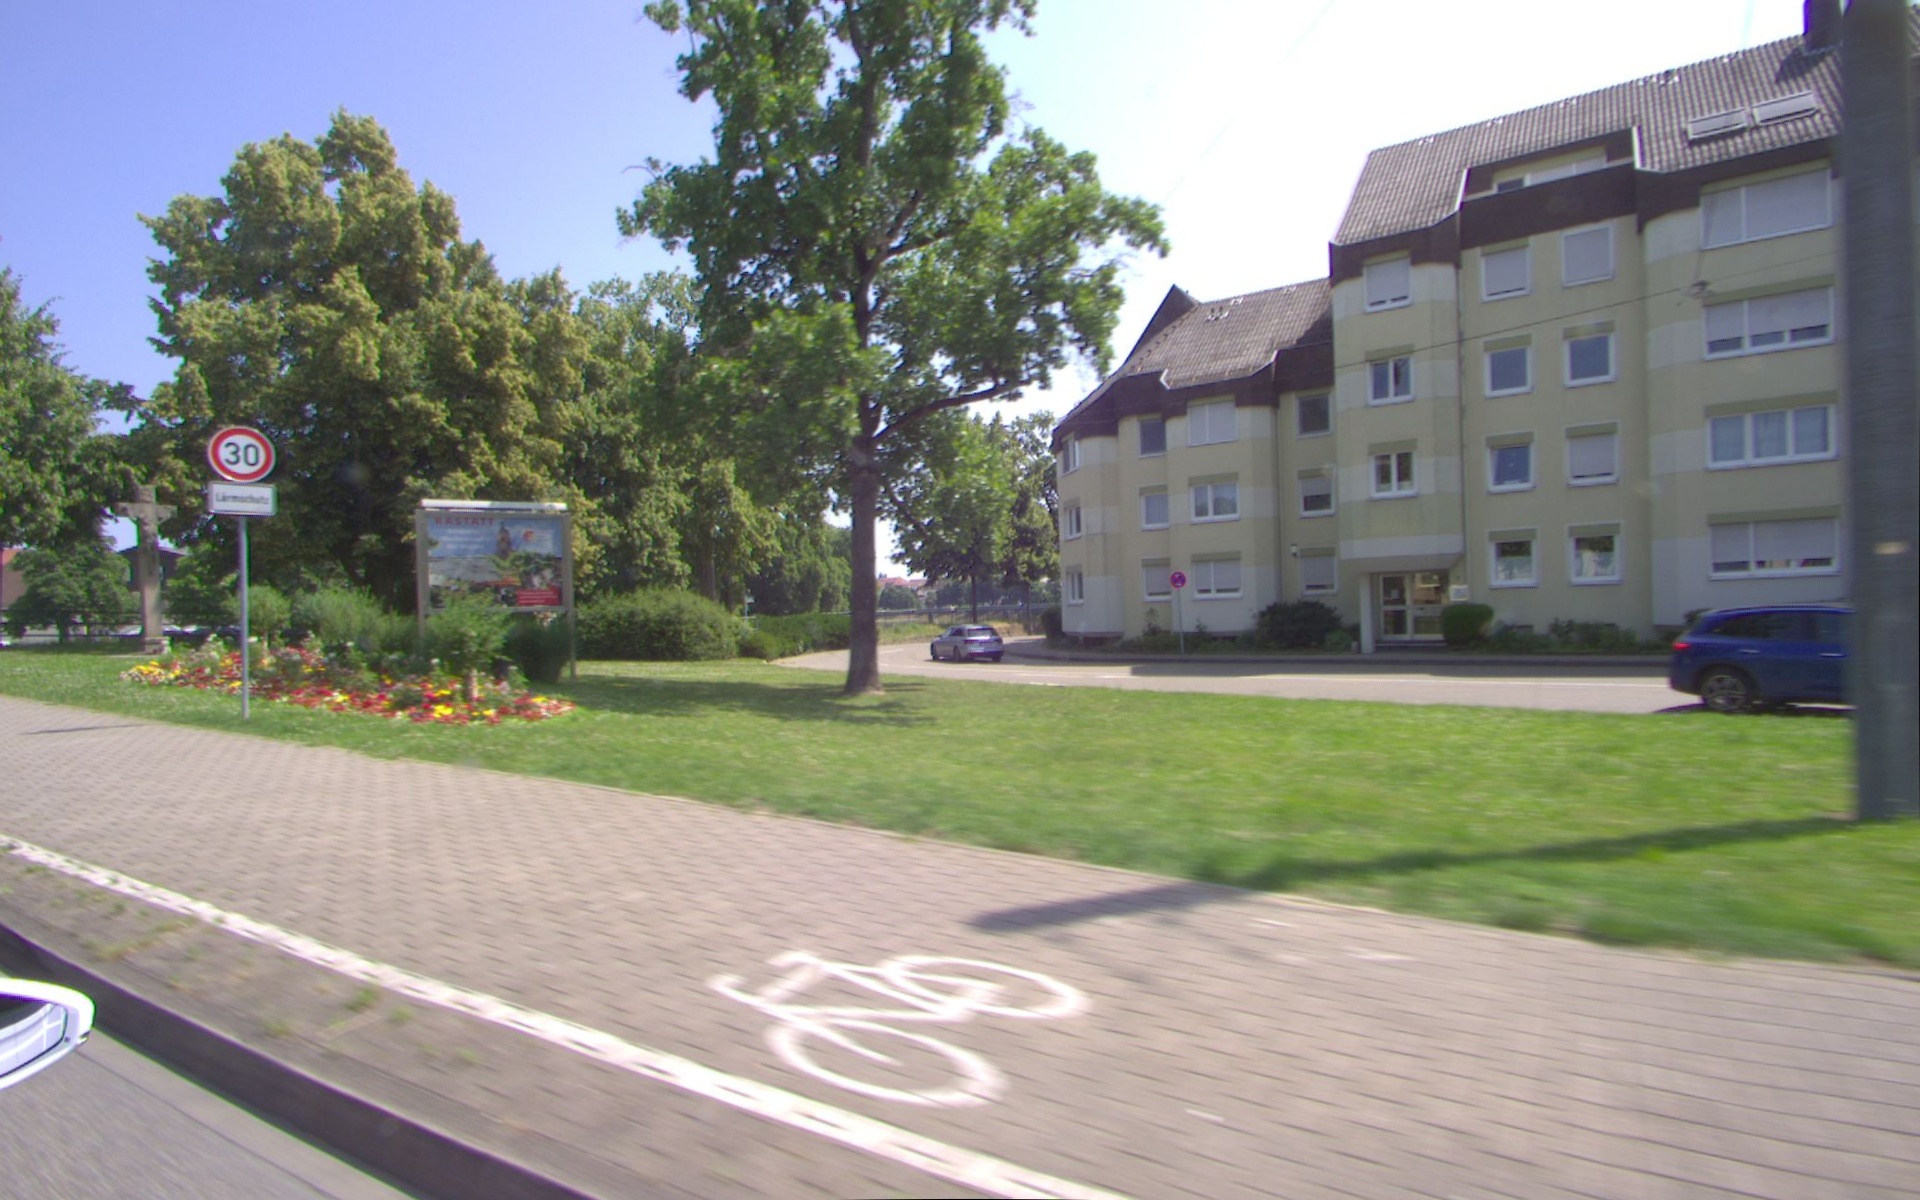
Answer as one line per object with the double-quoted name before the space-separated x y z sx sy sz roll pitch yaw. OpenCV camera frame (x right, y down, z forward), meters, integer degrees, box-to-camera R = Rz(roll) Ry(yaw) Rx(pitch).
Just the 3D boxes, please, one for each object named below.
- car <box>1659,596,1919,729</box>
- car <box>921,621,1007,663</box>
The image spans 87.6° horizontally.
"car" 13.198 0.843 14.406 1.970 1.723 4.748 -2 -1 -29
"car" 0.091 1.646 39.254 1.867 1.518 4.520 -1 -2 -21
